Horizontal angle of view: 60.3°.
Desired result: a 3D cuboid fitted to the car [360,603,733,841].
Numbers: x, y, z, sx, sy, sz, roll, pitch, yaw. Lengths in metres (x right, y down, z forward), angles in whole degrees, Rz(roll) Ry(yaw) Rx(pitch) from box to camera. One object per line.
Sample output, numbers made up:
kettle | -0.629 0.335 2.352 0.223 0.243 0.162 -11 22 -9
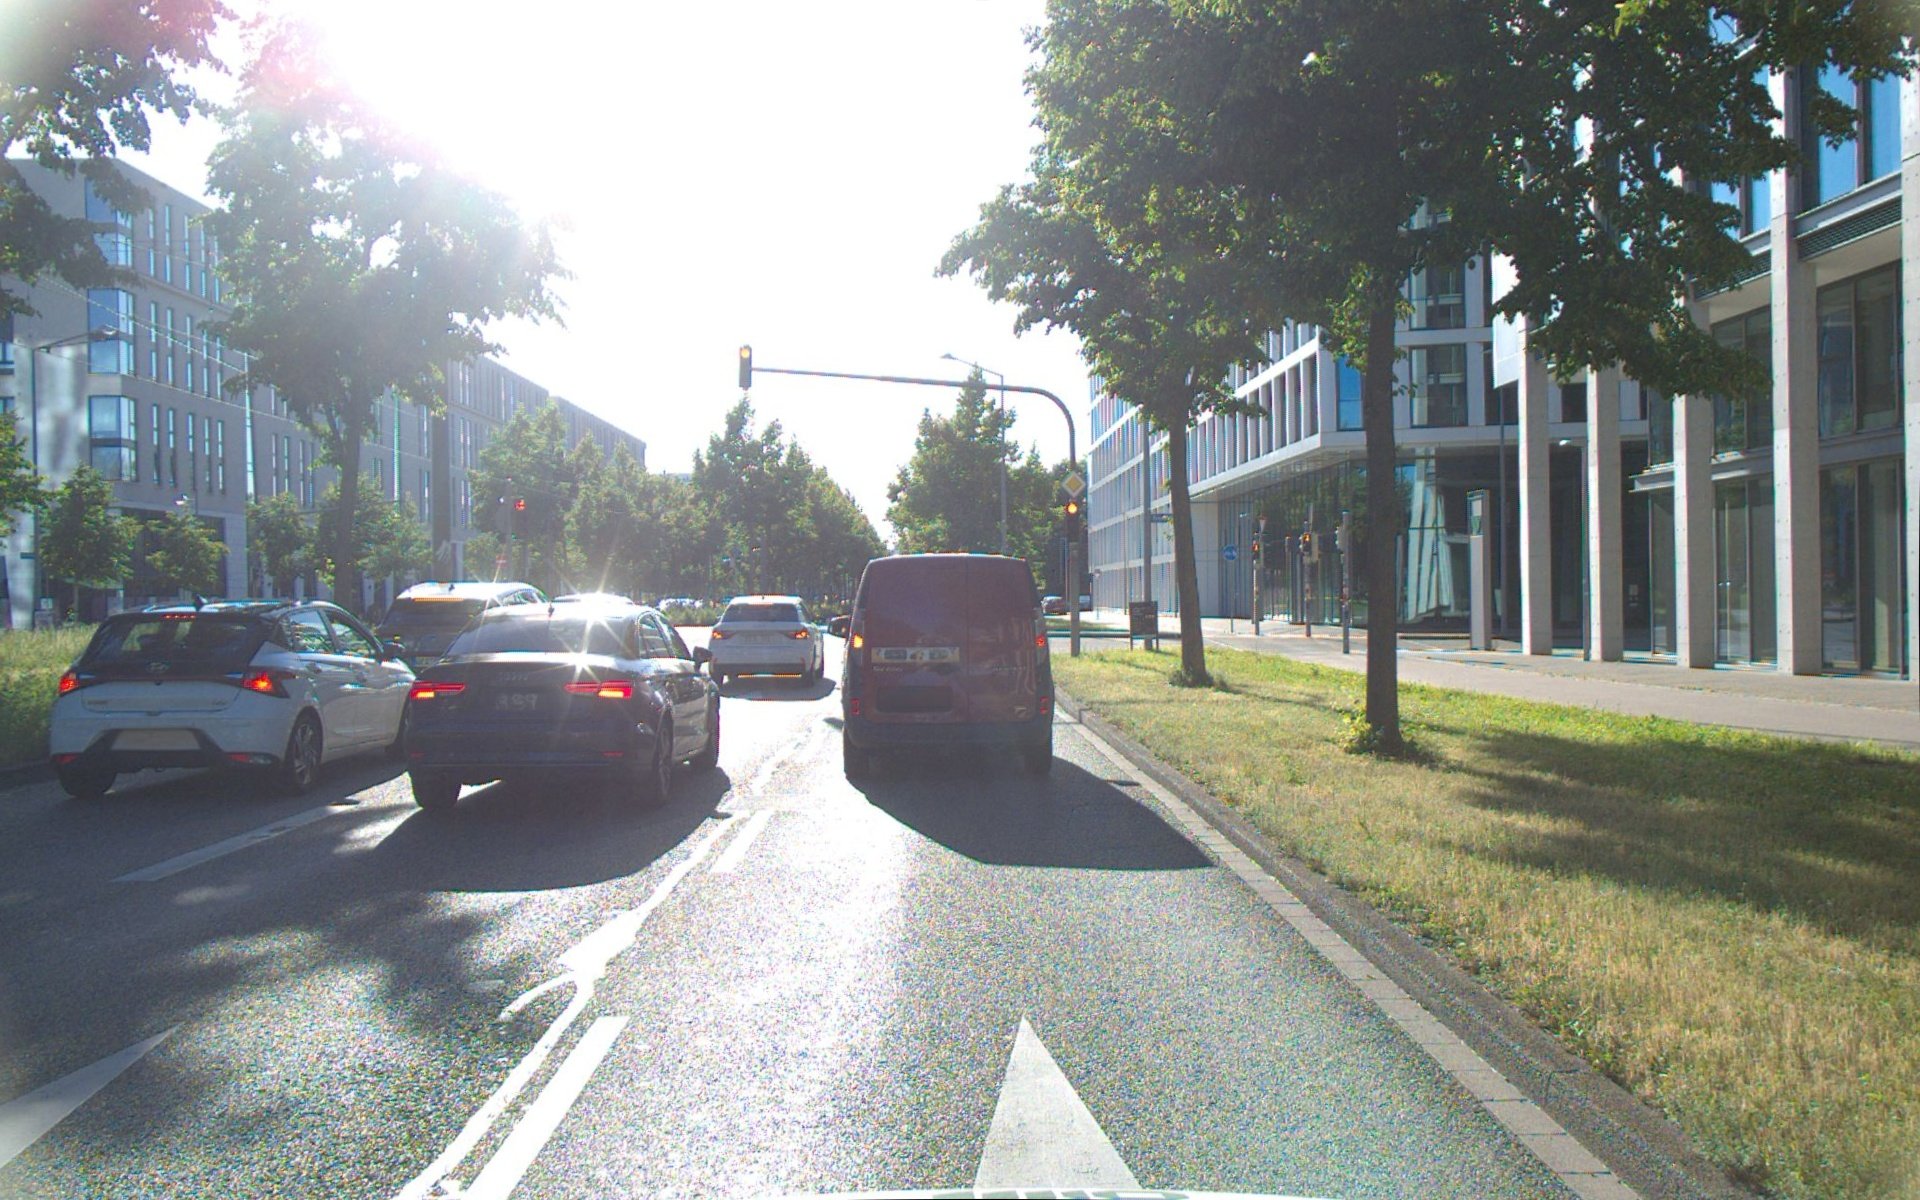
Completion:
car | -2.919 0.776 12.661 1.804 1.451 4.338 -1 0 -1

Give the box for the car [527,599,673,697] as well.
car | -6.192 0.770 28.893 1.763 1.509 4.565 2 0 -4

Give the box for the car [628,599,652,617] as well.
car | -37.144 0.937 192.060 1.953 2.049 3.999 -1 0 -1

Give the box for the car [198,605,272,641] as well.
car | -33.713 1.044 77.012 1.729 1.546 3.999 -1 0 -1

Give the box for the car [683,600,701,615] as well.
car | -37.640 1.099 232.507 1.953 2.049 3.999 -1 0 -1

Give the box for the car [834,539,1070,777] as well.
car | -0.093 0.444 14.849 1.804 1.812 3.999 -1 0 -1

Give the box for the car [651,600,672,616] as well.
car | -37.661 0.999 208.866 1.953 2.049 3.999 -1 0 -1

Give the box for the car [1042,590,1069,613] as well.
car | 7.969 0.109 138.144 1.953 1.813 3.999 -1 0 -1

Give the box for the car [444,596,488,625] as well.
car | -35.621 0.741 119.320 1.953 2.049 3.999 -1 0 -1

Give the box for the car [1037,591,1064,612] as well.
car | 7.837 0.127 143.312 1.953 1.813 3.999 -1 0 -1

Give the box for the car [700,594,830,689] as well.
car | -3.187 0.636 27.710 1.767 1.451 3.900 -1 0 -1

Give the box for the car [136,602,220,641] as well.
car | -33.469 0.890 70.867 1.729 1.546 3.999 -1 0 -1

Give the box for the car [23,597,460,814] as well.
car | -5.721 0.732 13.874 1.763 1.473 4.567 -1 0 -2

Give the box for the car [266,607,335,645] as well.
car | -35.027 1.361 87.983 1.953 1.845 4.369 -1 0 -1

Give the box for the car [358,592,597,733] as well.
car | -5.833 0.677 20.582 1.763 1.472 4.566 -3 1 -3
